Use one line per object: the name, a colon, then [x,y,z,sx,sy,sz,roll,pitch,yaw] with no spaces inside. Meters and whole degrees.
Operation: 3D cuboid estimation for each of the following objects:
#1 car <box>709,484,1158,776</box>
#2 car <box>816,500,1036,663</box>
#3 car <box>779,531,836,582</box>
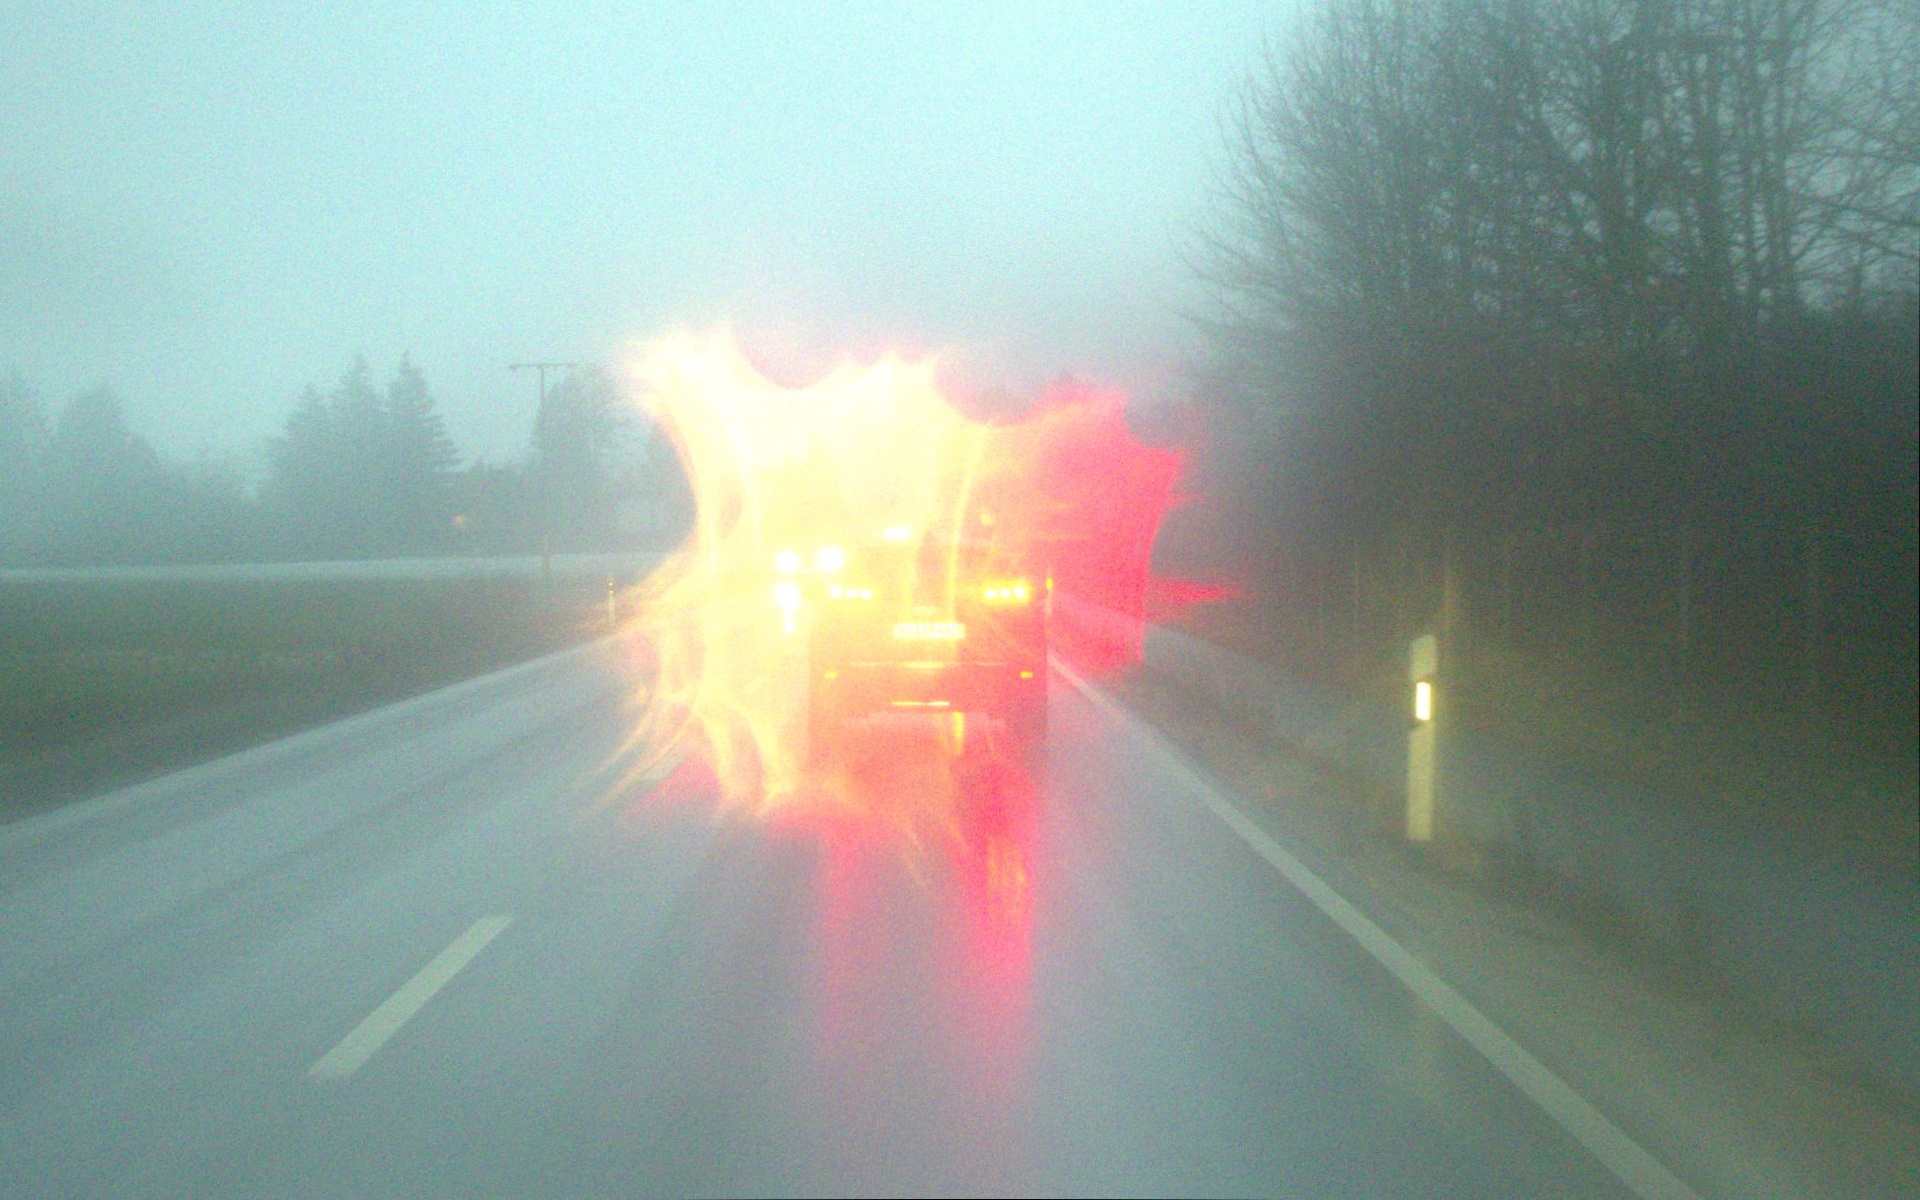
car: [-0.196,0.134,27.926,3.164,2.028,6.852,-1,1,0]
car: [-0.443,-0.311,47.052,2.756,2.028,6.591,-1,1,0]
car: [-5.242,-1.488,118.422,1.839,1.715,3.956,0,1,-1]
